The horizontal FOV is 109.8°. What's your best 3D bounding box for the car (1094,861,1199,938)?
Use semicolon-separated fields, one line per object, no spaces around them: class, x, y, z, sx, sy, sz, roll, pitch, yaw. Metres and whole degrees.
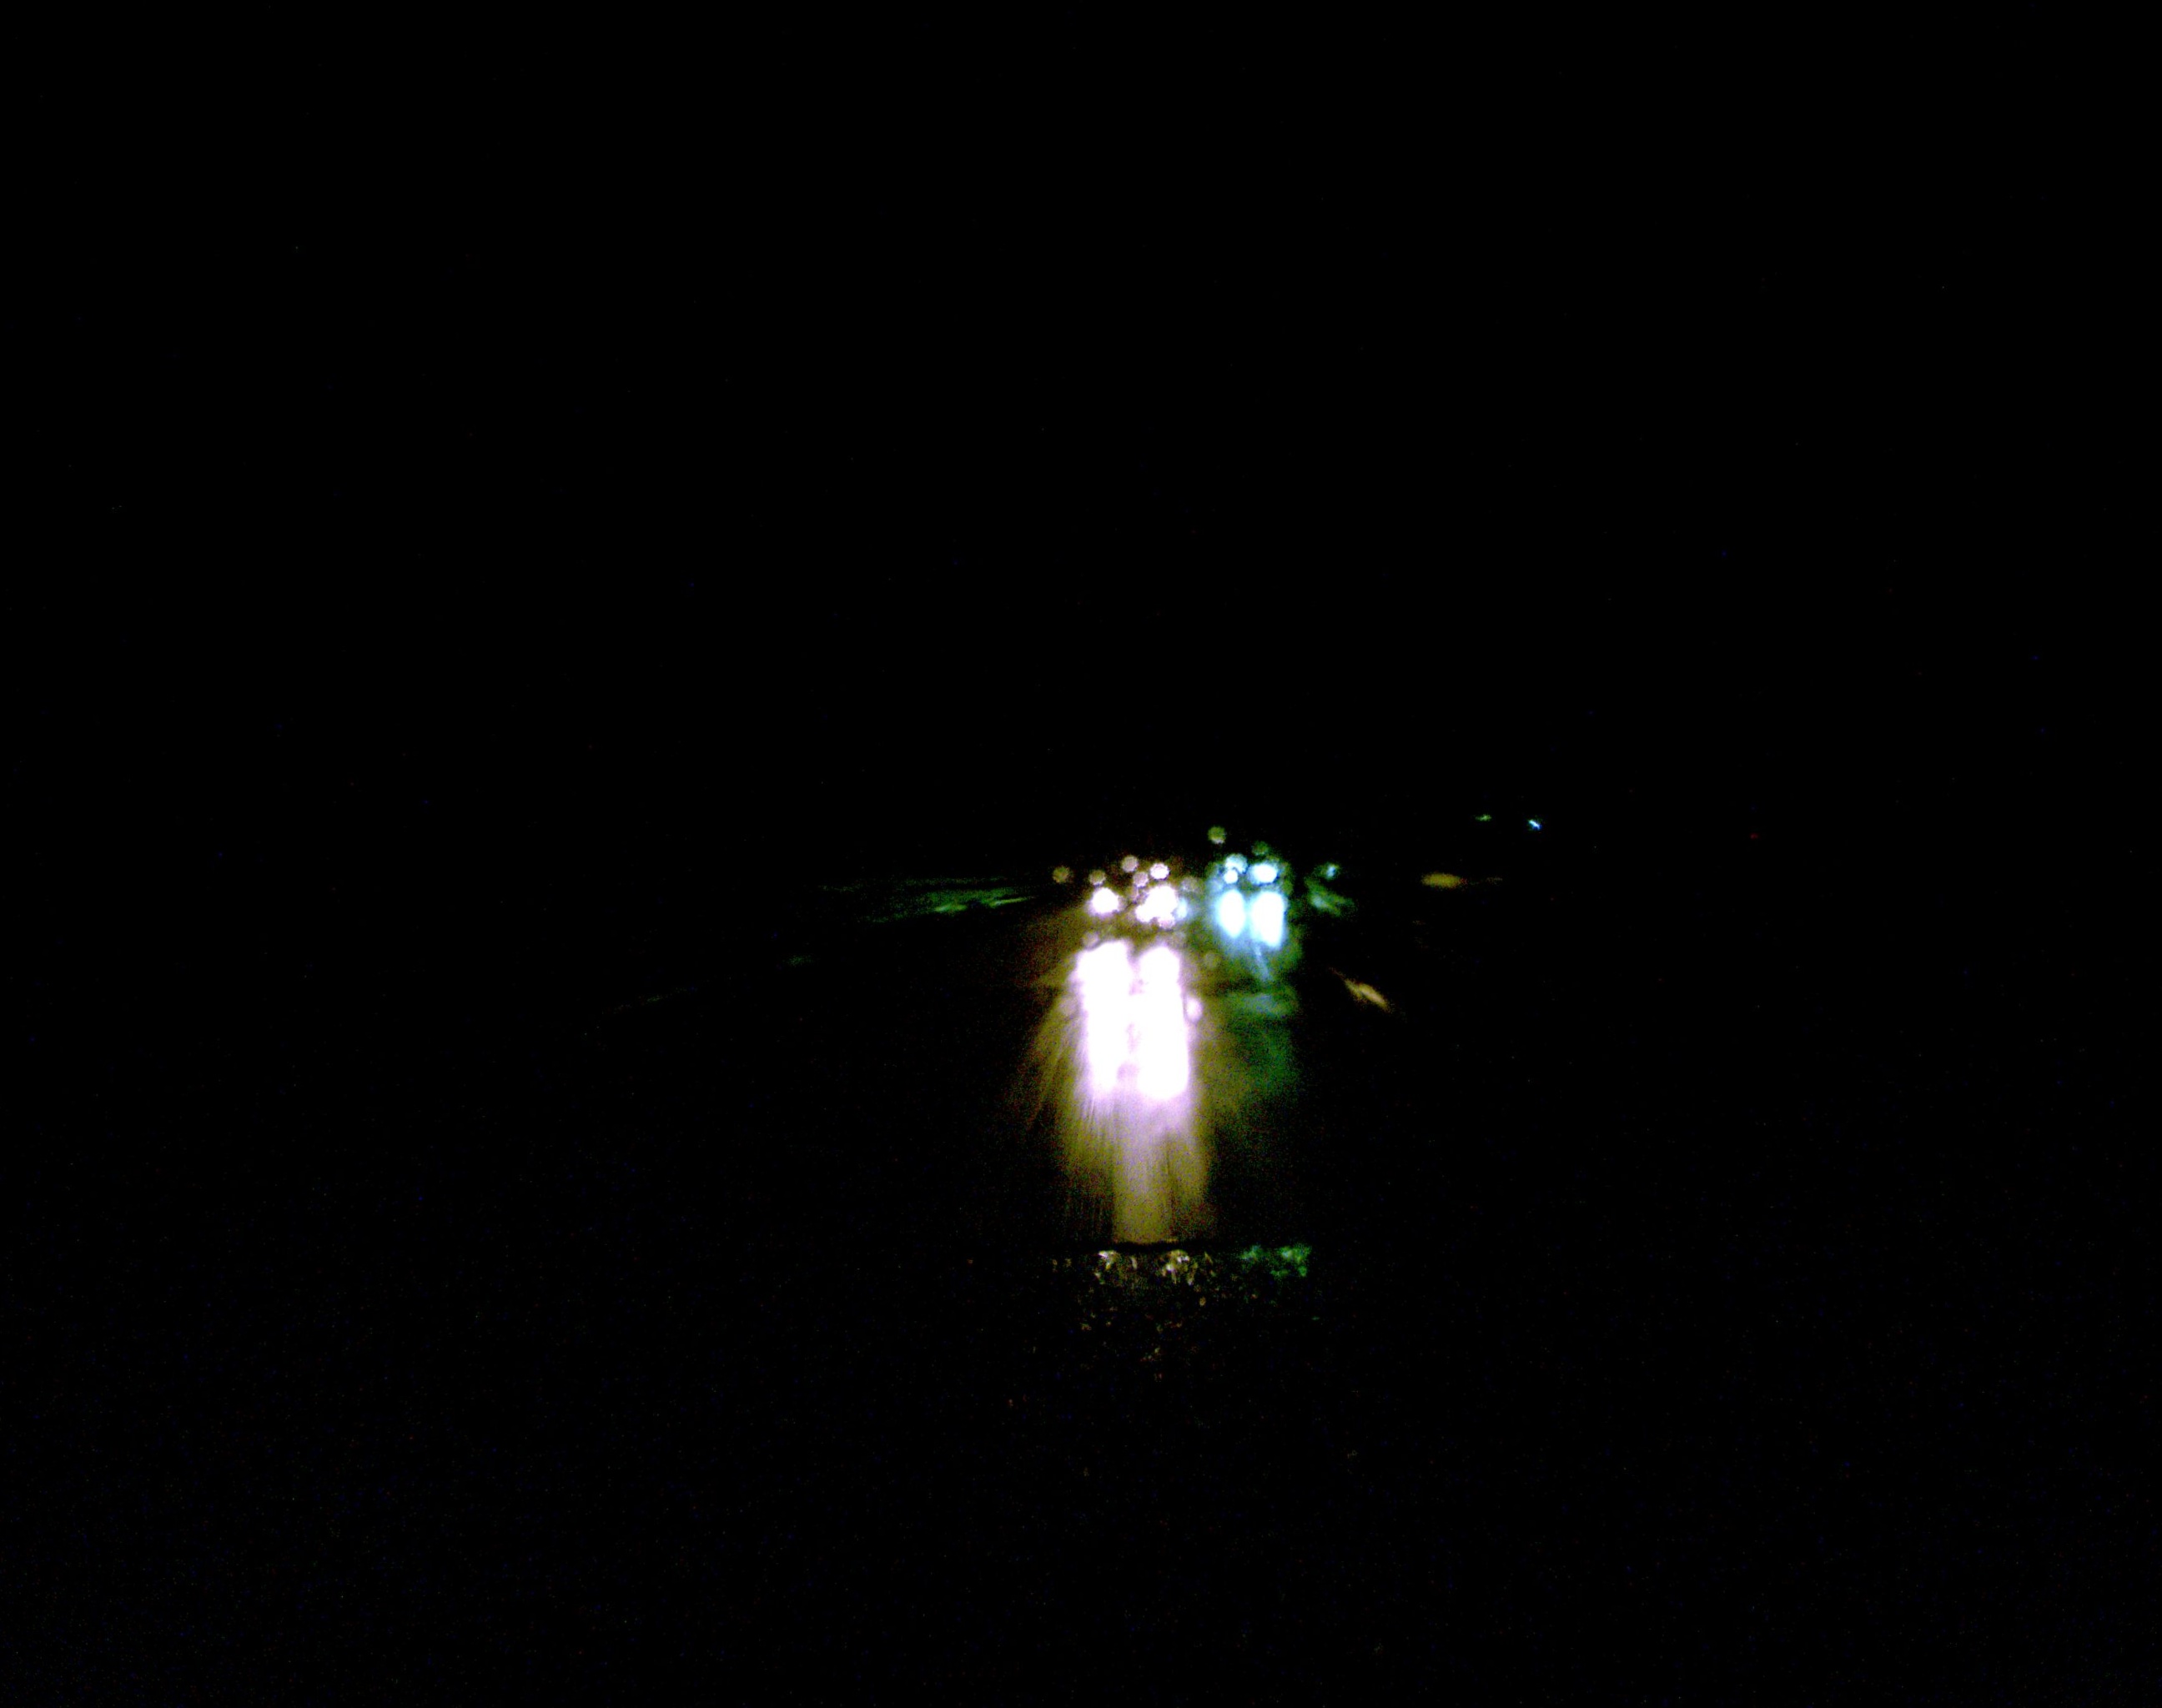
car;1.579;0.929;17.070;1.685;1.442;3.646;-1;1;15

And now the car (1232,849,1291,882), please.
car;8.038;0.474;33.640;1.757;1.304;4.092;0;1;24
